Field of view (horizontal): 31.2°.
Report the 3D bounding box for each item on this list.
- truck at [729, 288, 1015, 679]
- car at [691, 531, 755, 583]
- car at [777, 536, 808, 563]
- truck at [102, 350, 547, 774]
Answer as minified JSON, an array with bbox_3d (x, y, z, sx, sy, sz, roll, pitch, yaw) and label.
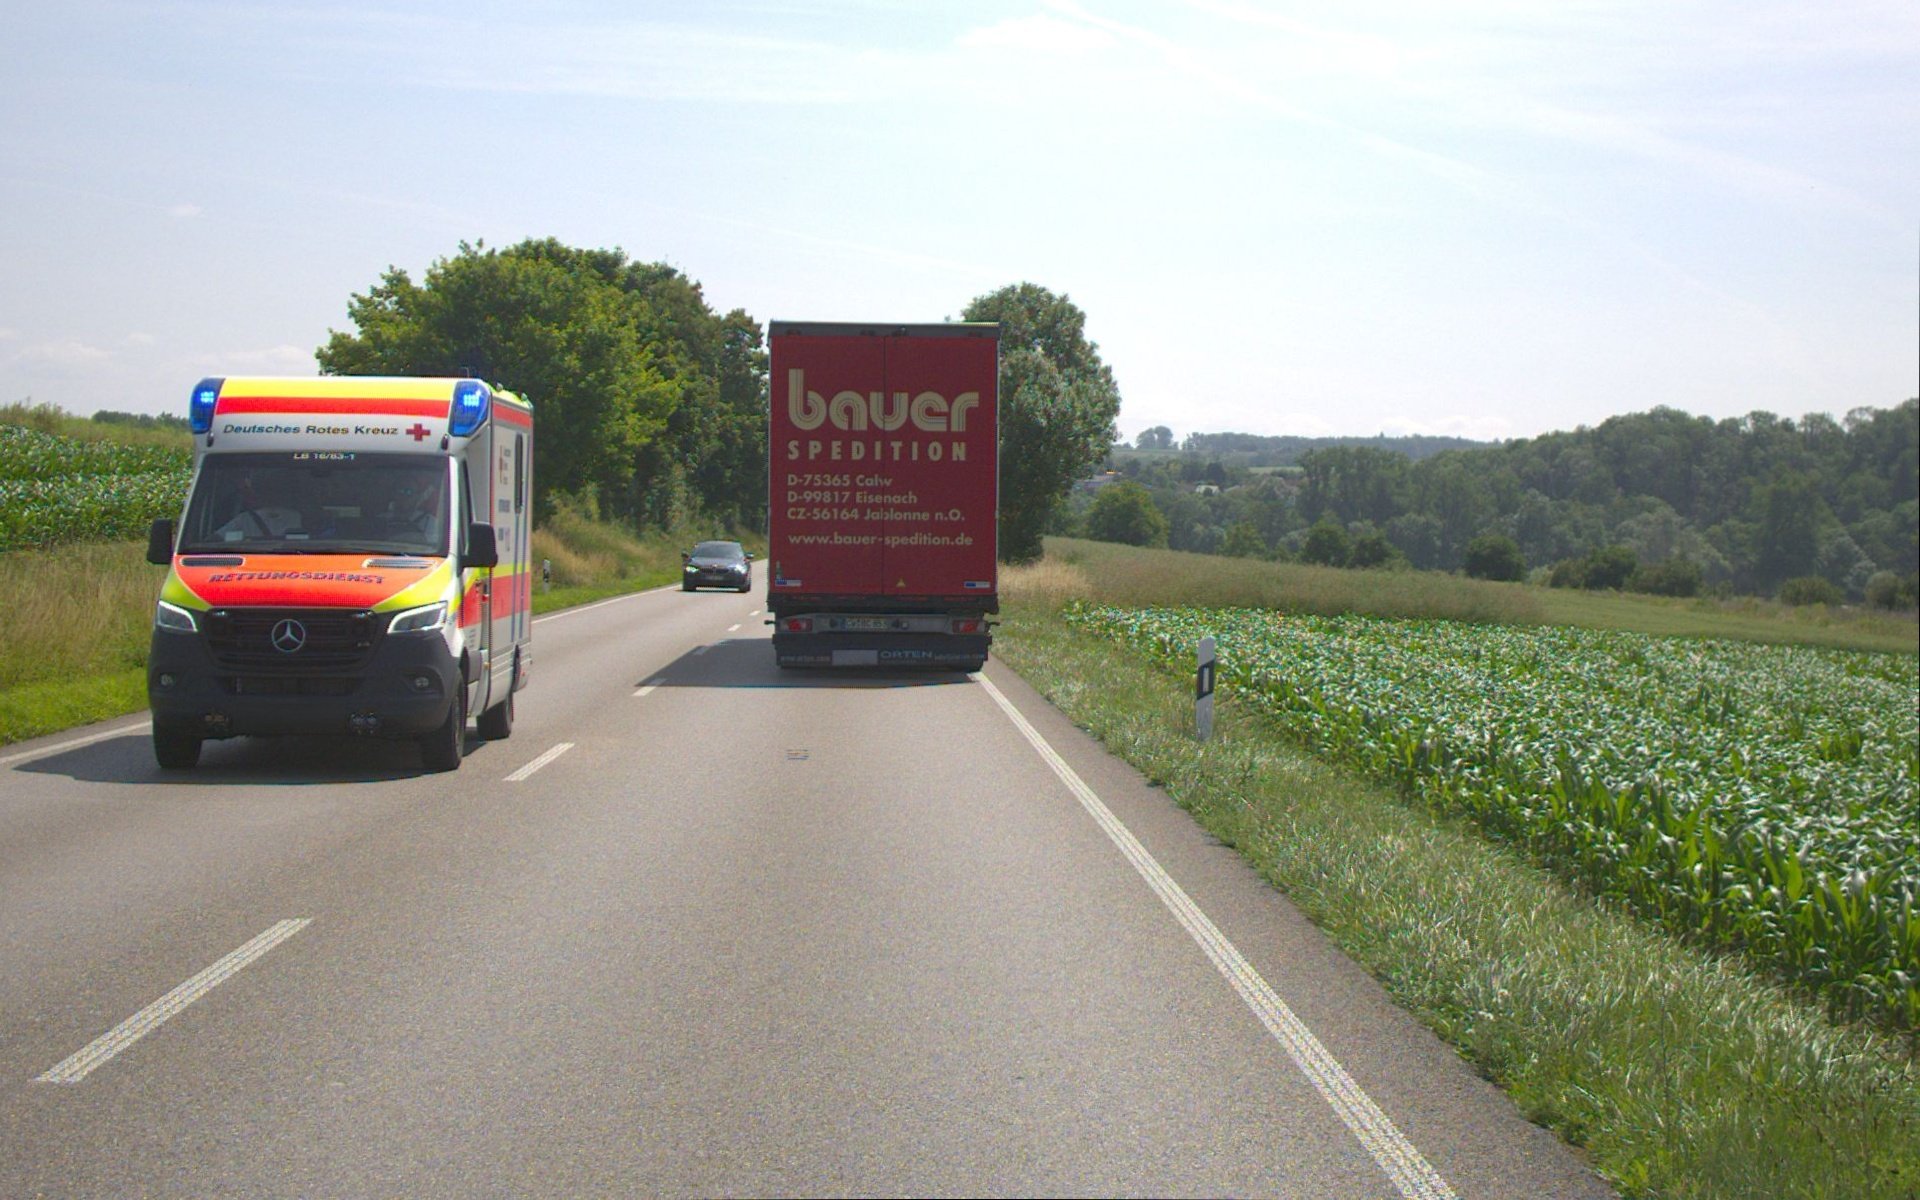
[{"bbox_3d":[-0.945,-1.298,41.728,3.094,4.248,8.314,1,0,0],"label":"truck"},{"bbox_3d":[-6.891,-1.258,100.137,1.673,1.452,4.351,1,1,-2],"label":"car"},{"bbox_3d":[-9.851,-2.973,202.559,1.656,1.529,4.358,2,1,-1],"label":"car"},{"bbox_3d":[-4.384,-0.277,24.840,2.207,2.663,6.417,0,1,-2],"label":"truck"}]
